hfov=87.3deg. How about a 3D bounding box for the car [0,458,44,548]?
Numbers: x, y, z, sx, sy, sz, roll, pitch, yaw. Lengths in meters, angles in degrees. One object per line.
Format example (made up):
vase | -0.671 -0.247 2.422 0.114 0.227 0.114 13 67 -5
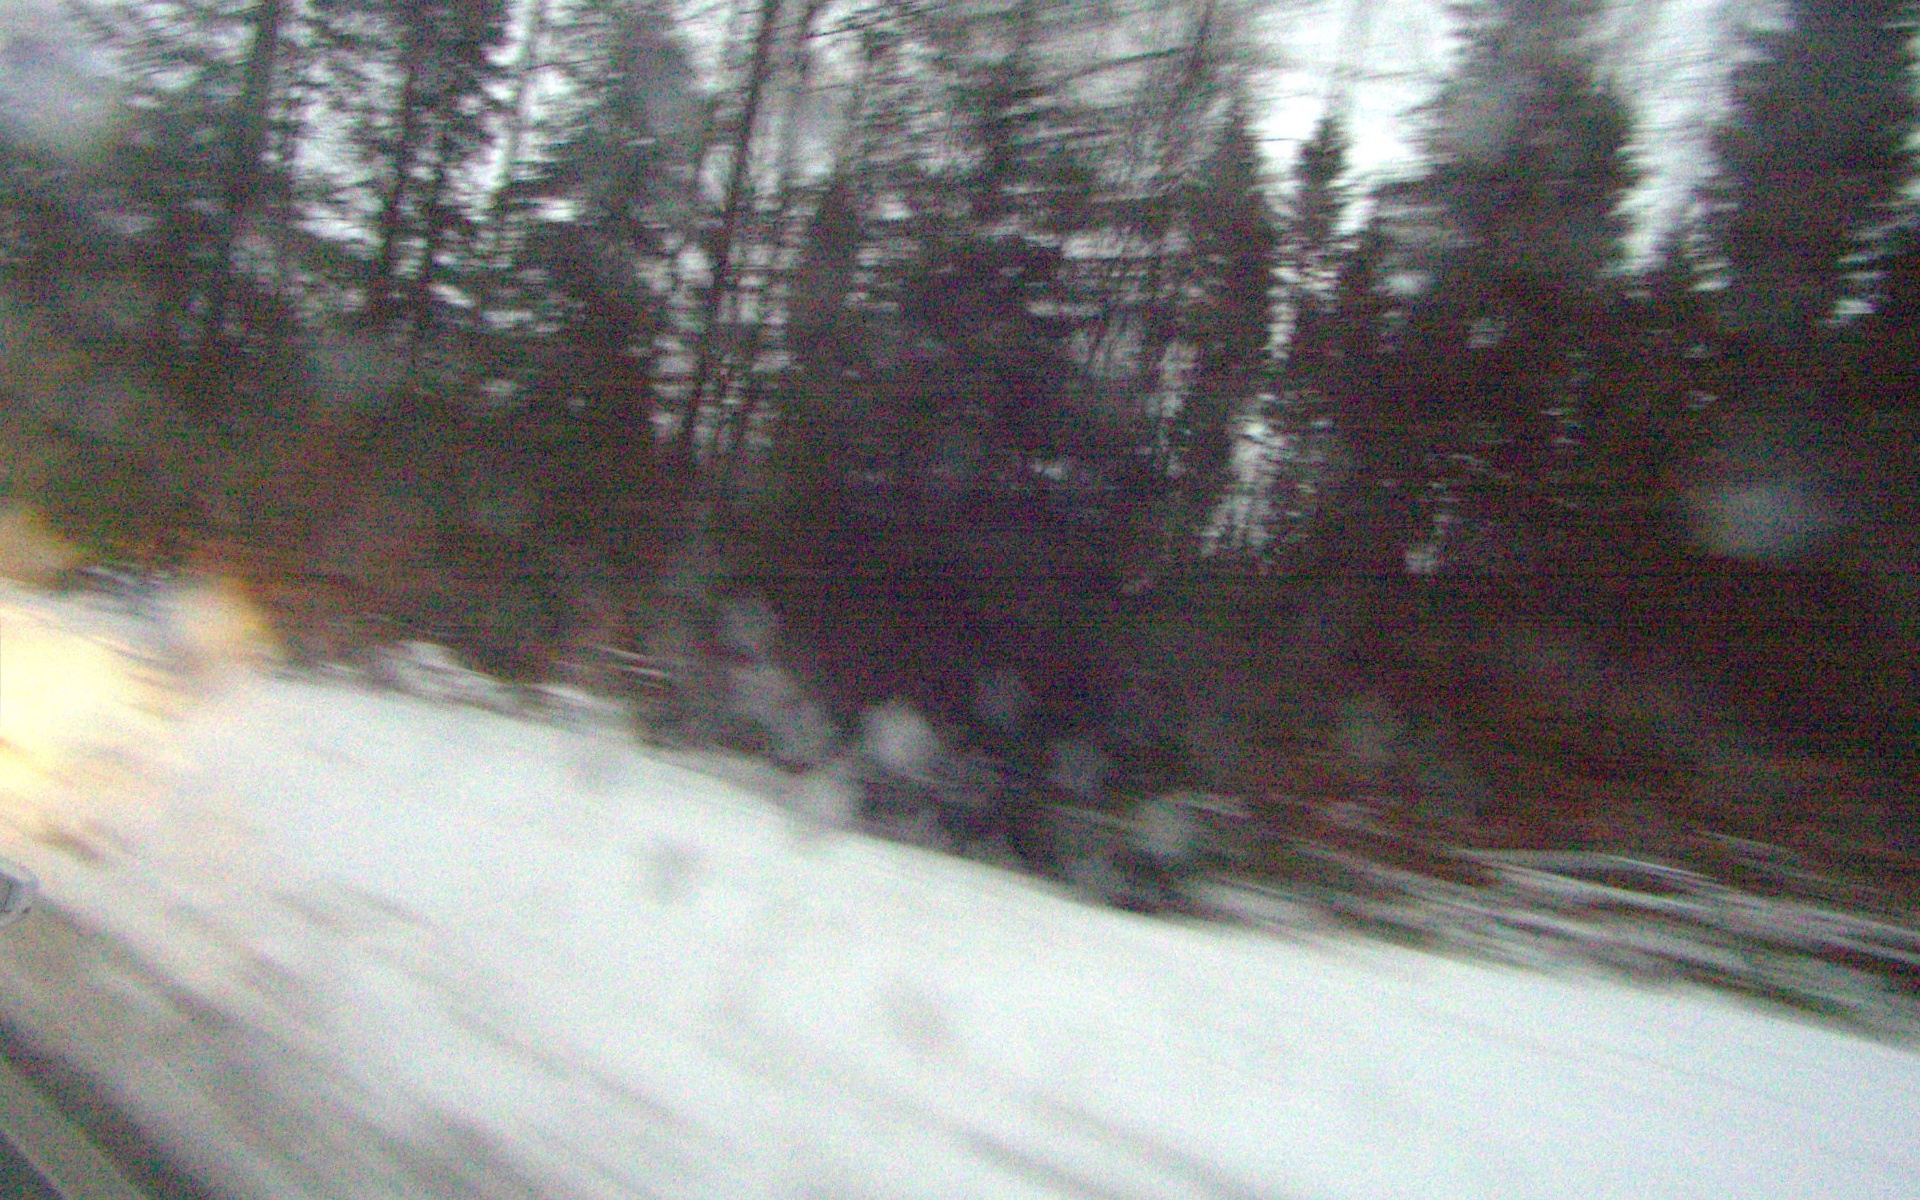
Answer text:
car | -30.611 -3.256 29.936 2.225 2.672 5.000 12 -2 -10
